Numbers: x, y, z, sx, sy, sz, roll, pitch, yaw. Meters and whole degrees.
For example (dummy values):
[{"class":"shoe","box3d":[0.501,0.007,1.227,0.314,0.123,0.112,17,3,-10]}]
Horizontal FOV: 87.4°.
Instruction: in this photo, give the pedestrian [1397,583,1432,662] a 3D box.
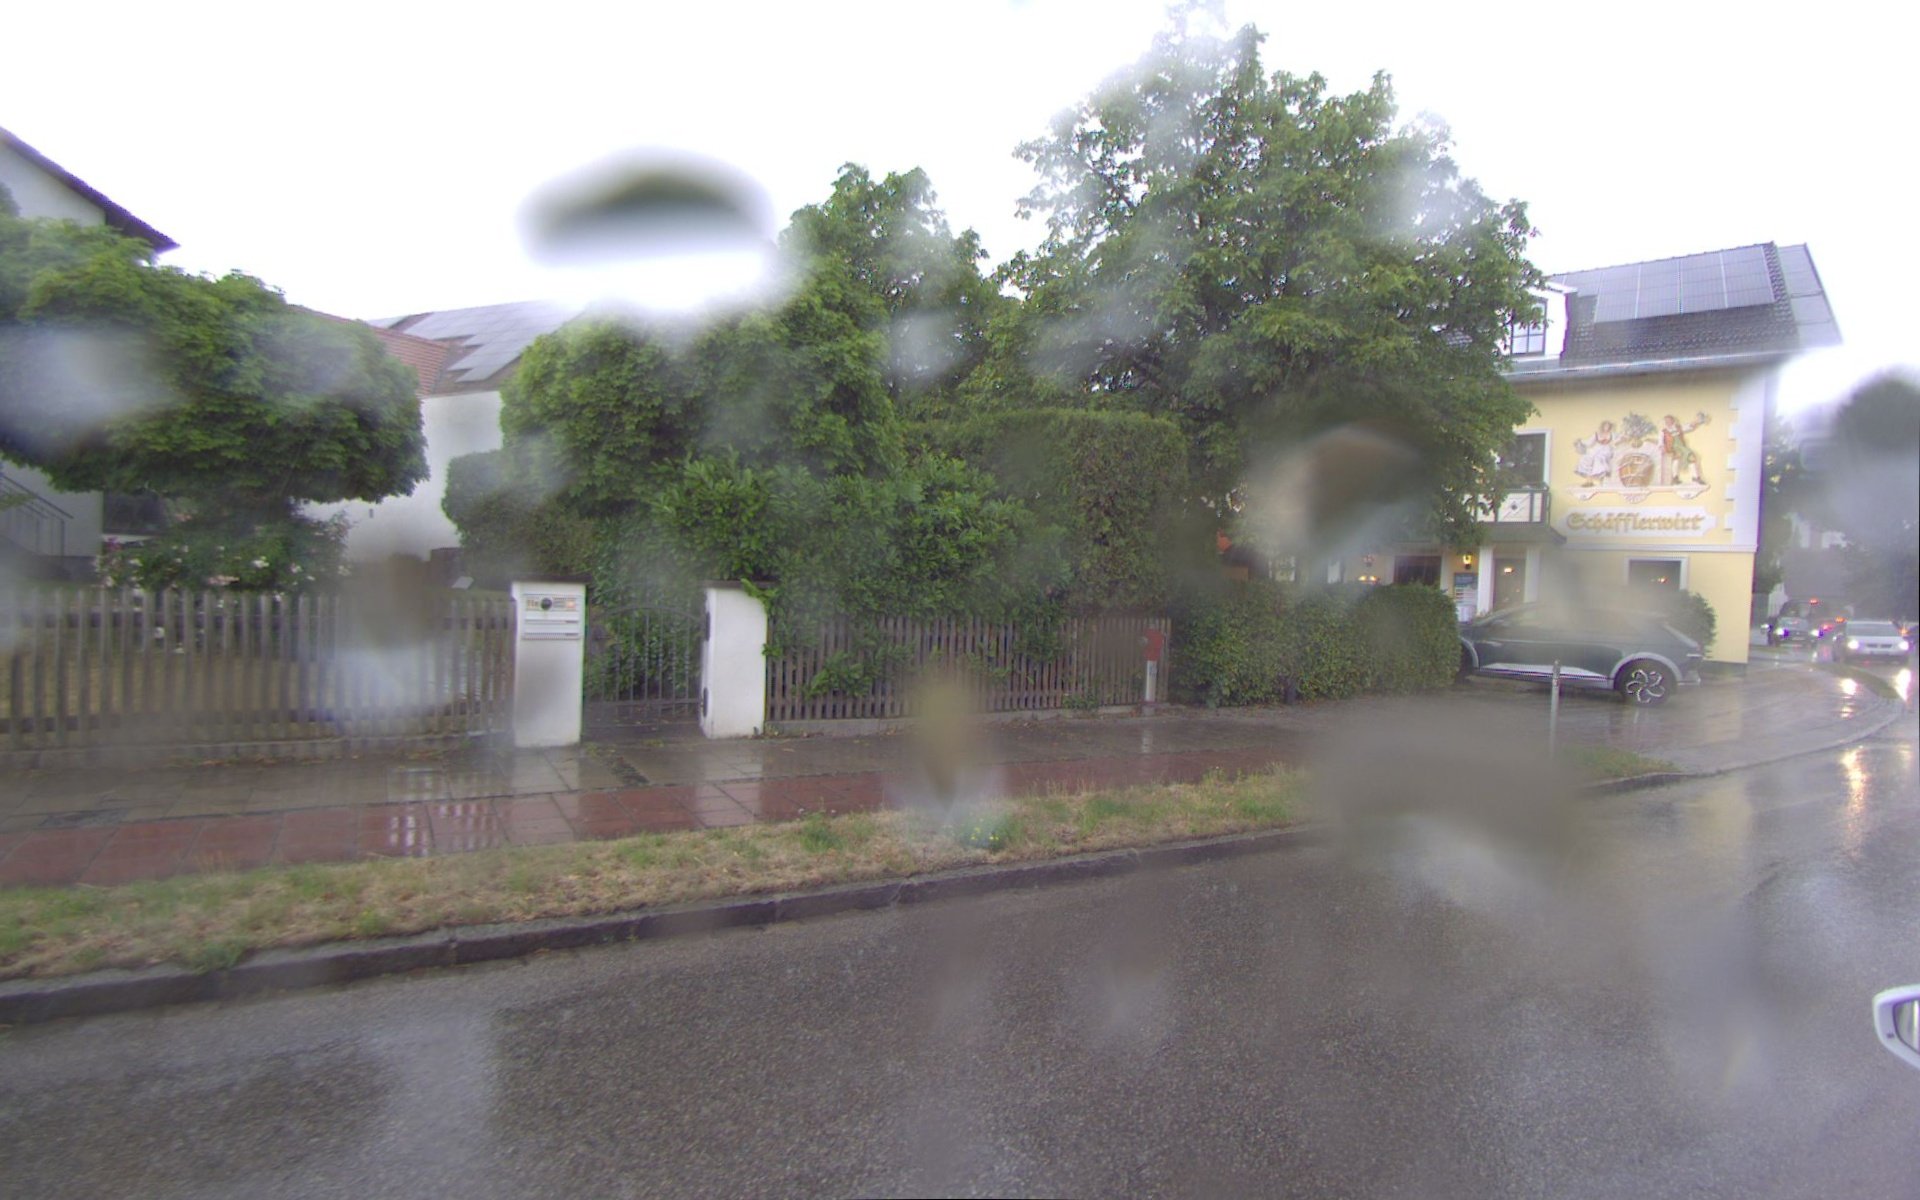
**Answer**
[{"class":"pedestrian","box3d":[10.195,0.487,22.518,0.484,1.712,0.552,6,4,37]}]

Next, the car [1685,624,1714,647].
[{"class":"car","box3d":[68.277,3.251,92.826,1.825,1.997,4.690,0,-1,33]}]

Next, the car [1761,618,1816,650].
[{"class":"car","box3d":[44.437,1.791,53.932,1.563,1.631,3.533,1,-1,28]}]

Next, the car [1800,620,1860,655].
[{"class":"car","box3d":[54.171,2.283,62.625,2.139,1.925,4.999,3,2,34]}]

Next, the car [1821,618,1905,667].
[{"class":"car","box3d":[33.932,1.578,37.843,1.729,1.700,3.990,0,-1,33]}]

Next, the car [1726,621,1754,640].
[{"class":"car","box3d":[89.808,3.435,115.687,2.139,1.925,4.999,3,2,34]}]

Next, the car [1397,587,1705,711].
[{"class":"car","box3d":[10.375,0.755,17.895,4.413,1.589,1.834,6,5,33]}]

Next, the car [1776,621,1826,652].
[{"class":"car","box3d":[60.532,2.577,72.340,2.139,1.925,4.999,3,2,34]}]

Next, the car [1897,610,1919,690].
[{"class":"car","box3d":[22.859,1.139,22.789,1.898,1.767,4.176,0,-1,37]}]

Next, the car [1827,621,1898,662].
[{"class":"car","box3d":[49.437,2.241,55.128,2.139,1.925,4.999,3,2,34]}]
